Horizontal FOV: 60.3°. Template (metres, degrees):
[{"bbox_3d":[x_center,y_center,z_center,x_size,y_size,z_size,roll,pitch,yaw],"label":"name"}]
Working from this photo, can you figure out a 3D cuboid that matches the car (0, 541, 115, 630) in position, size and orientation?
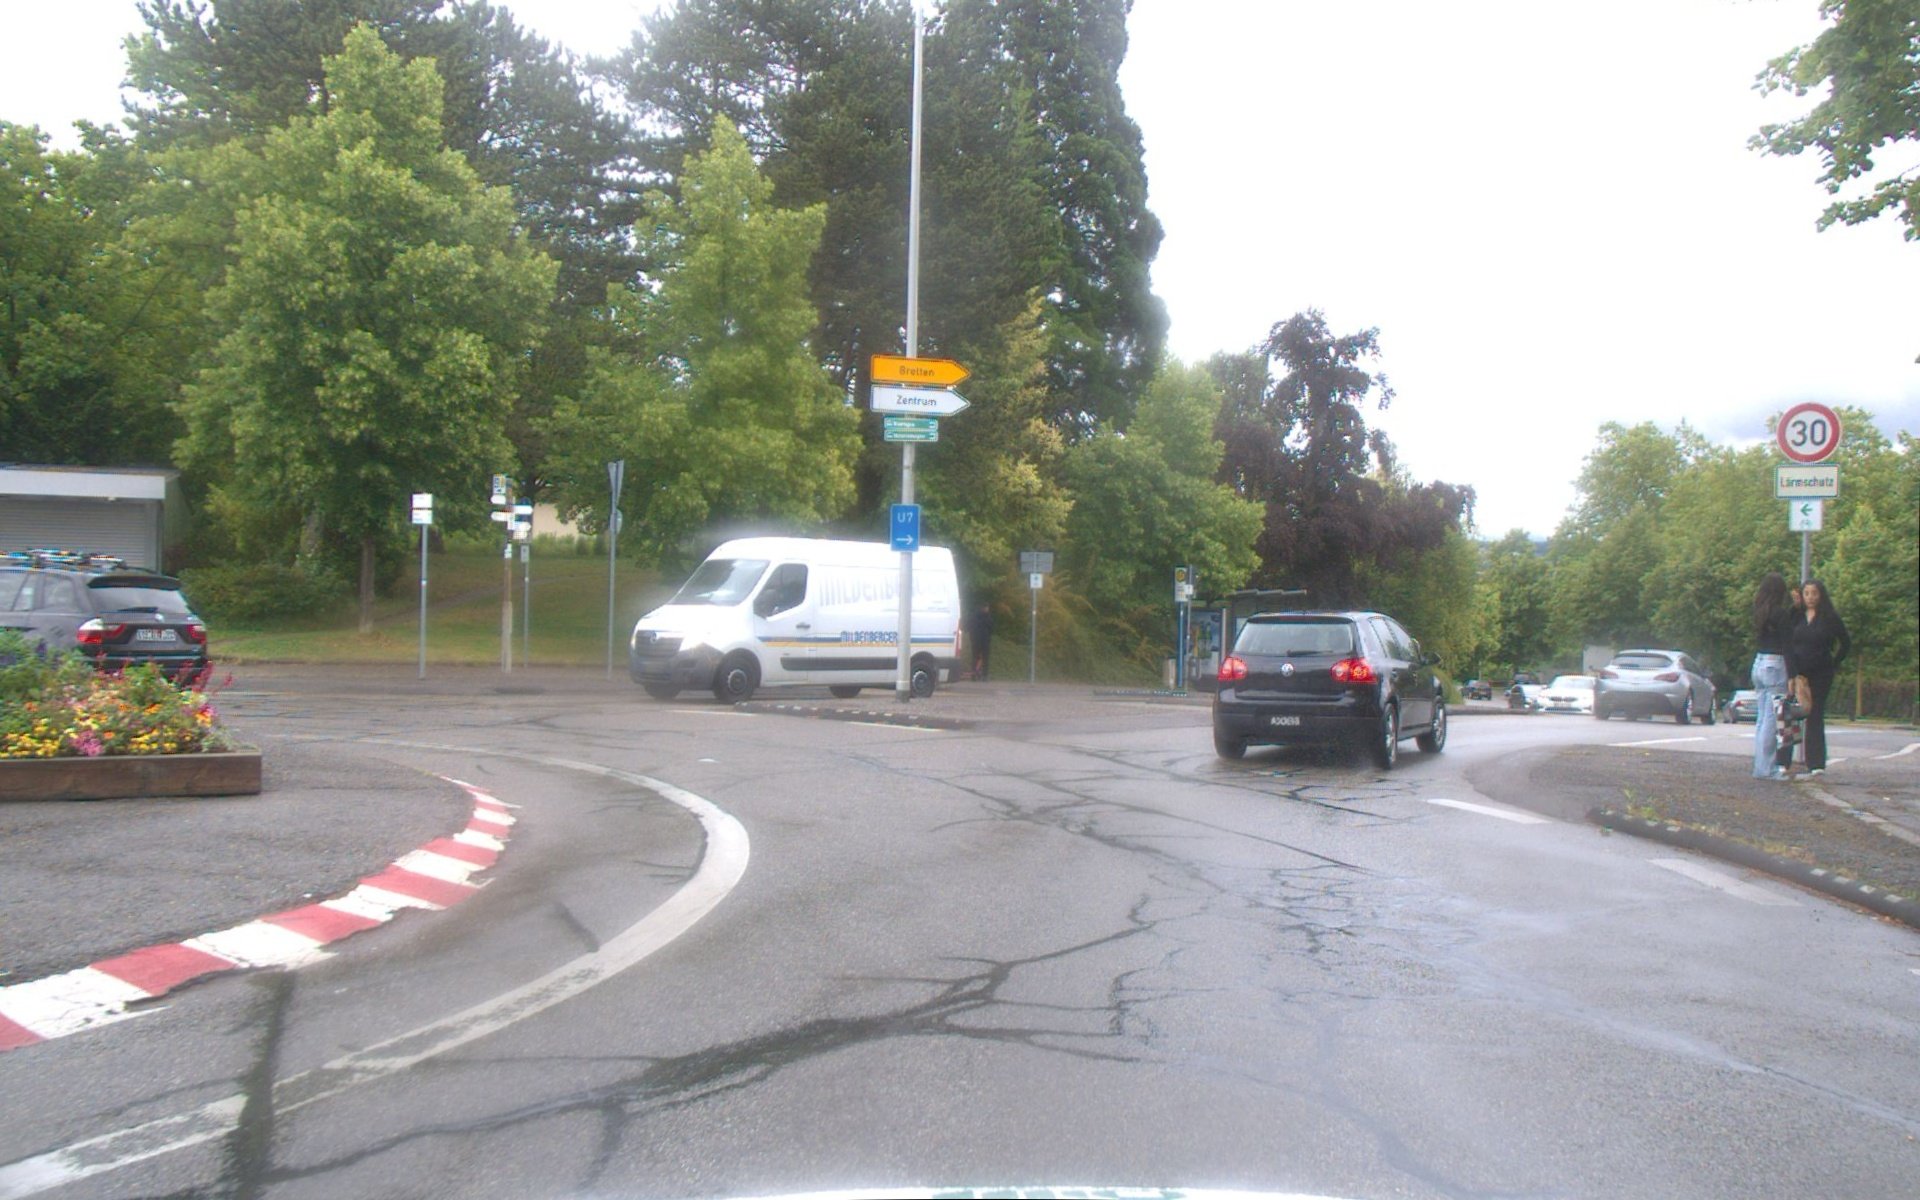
[{"bbox_3d":[-16.492,-0.287,30.048,1.788,1.512,3.803,0,1,-24],"label":"car"}]

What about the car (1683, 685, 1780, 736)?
[{"bbox_3d":[32.258,4.595,69.275,2.024,1.871,3.997,1,-1,-3],"label":"car"}]

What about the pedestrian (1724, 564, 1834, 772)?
[{"bbox_3d":[7.063,0.576,14.269,0.523,1.743,0.629,3,-1,-31],"label":"pedestrian"}]

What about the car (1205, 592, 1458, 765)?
[{"bbox_3d":[3.955,0.729,17.112,1.730,1.565,3.997,-1,-1,25],"label":"car"}]

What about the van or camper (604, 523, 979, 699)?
[{"bbox_3d":[-2.453,0.223,25.503,2.164,2.419,5.629,1,-1,44],"label":"van or camper"}]

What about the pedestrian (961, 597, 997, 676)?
[{"bbox_3d":[0.434,0.821,37.625,0.722,1.755,0.817,2,-1,4],"label":"pedestrian"}]

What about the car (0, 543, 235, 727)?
[{"bbox_3d":[-10.203,0.347,18.161,4.146,1.833,1.770,0,0,23],"label":"car"}]

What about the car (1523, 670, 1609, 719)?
[{"bbox_3d":[19.994,3.144,54.468,1.873,1.417,4.506,2,-3,30],"label":"car"}]

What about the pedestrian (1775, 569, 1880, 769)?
[{"bbox_3d":[7.788,0.609,14.859,0.621,1.743,0.530,2,-1,-1],"label":"pedestrian"}]

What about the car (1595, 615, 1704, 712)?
[{"bbox_3d":[14.446,1.254,34.530,1.731,1.833,4.240,0,0,28],"label":"car"}]
